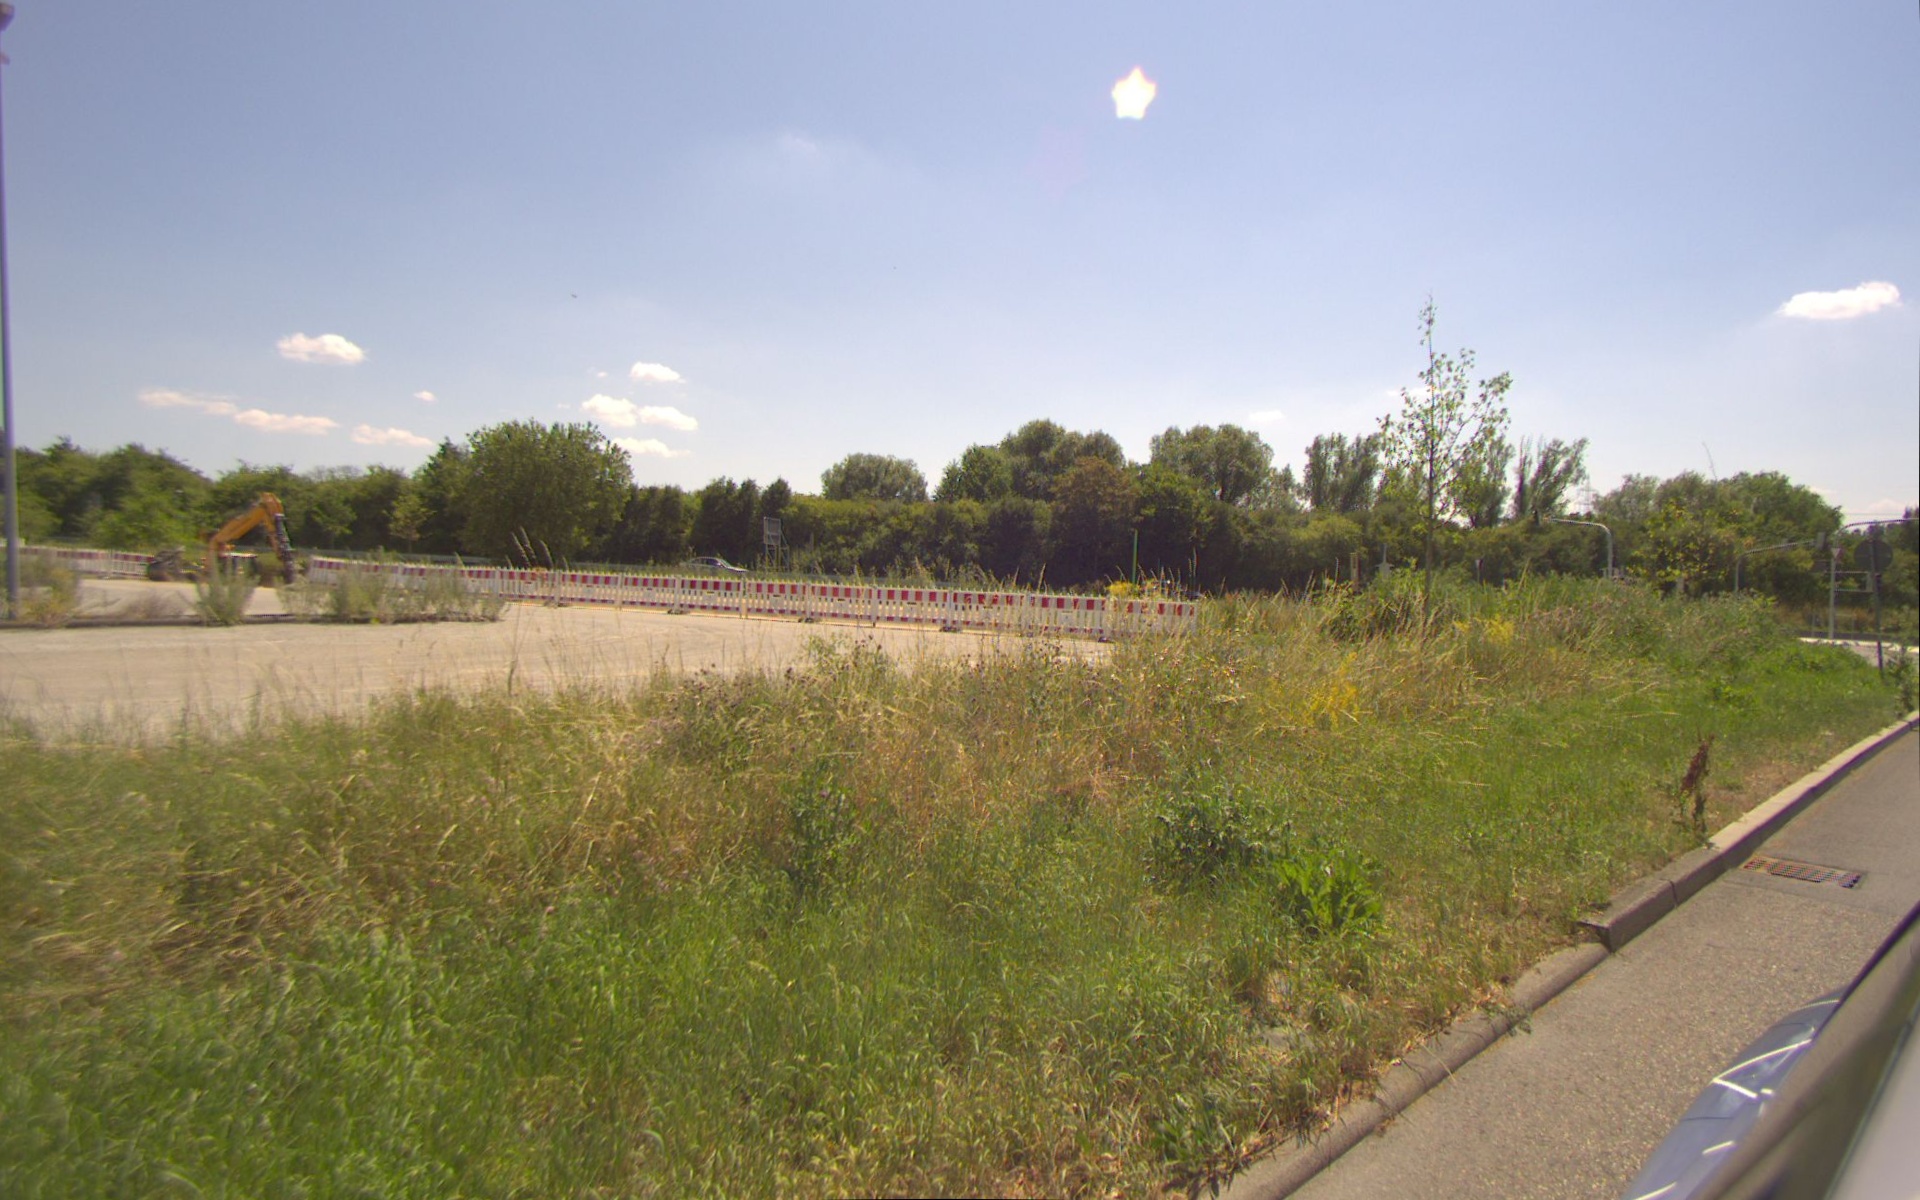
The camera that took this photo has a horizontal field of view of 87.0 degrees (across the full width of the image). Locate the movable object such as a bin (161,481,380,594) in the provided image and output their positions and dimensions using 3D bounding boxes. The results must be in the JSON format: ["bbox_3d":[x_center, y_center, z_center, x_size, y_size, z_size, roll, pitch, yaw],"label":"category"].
[{"bbox_3d":[-29.245,-2.623,42.978,7.988,4.094,2.975,5,1,14],"label":"movable object such as a bin"}]

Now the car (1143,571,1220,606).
[{"bbox_3d":[12.442,-0.650,57.124,3.931,1.660,1.779,4,1,6],"label":"car"}]
